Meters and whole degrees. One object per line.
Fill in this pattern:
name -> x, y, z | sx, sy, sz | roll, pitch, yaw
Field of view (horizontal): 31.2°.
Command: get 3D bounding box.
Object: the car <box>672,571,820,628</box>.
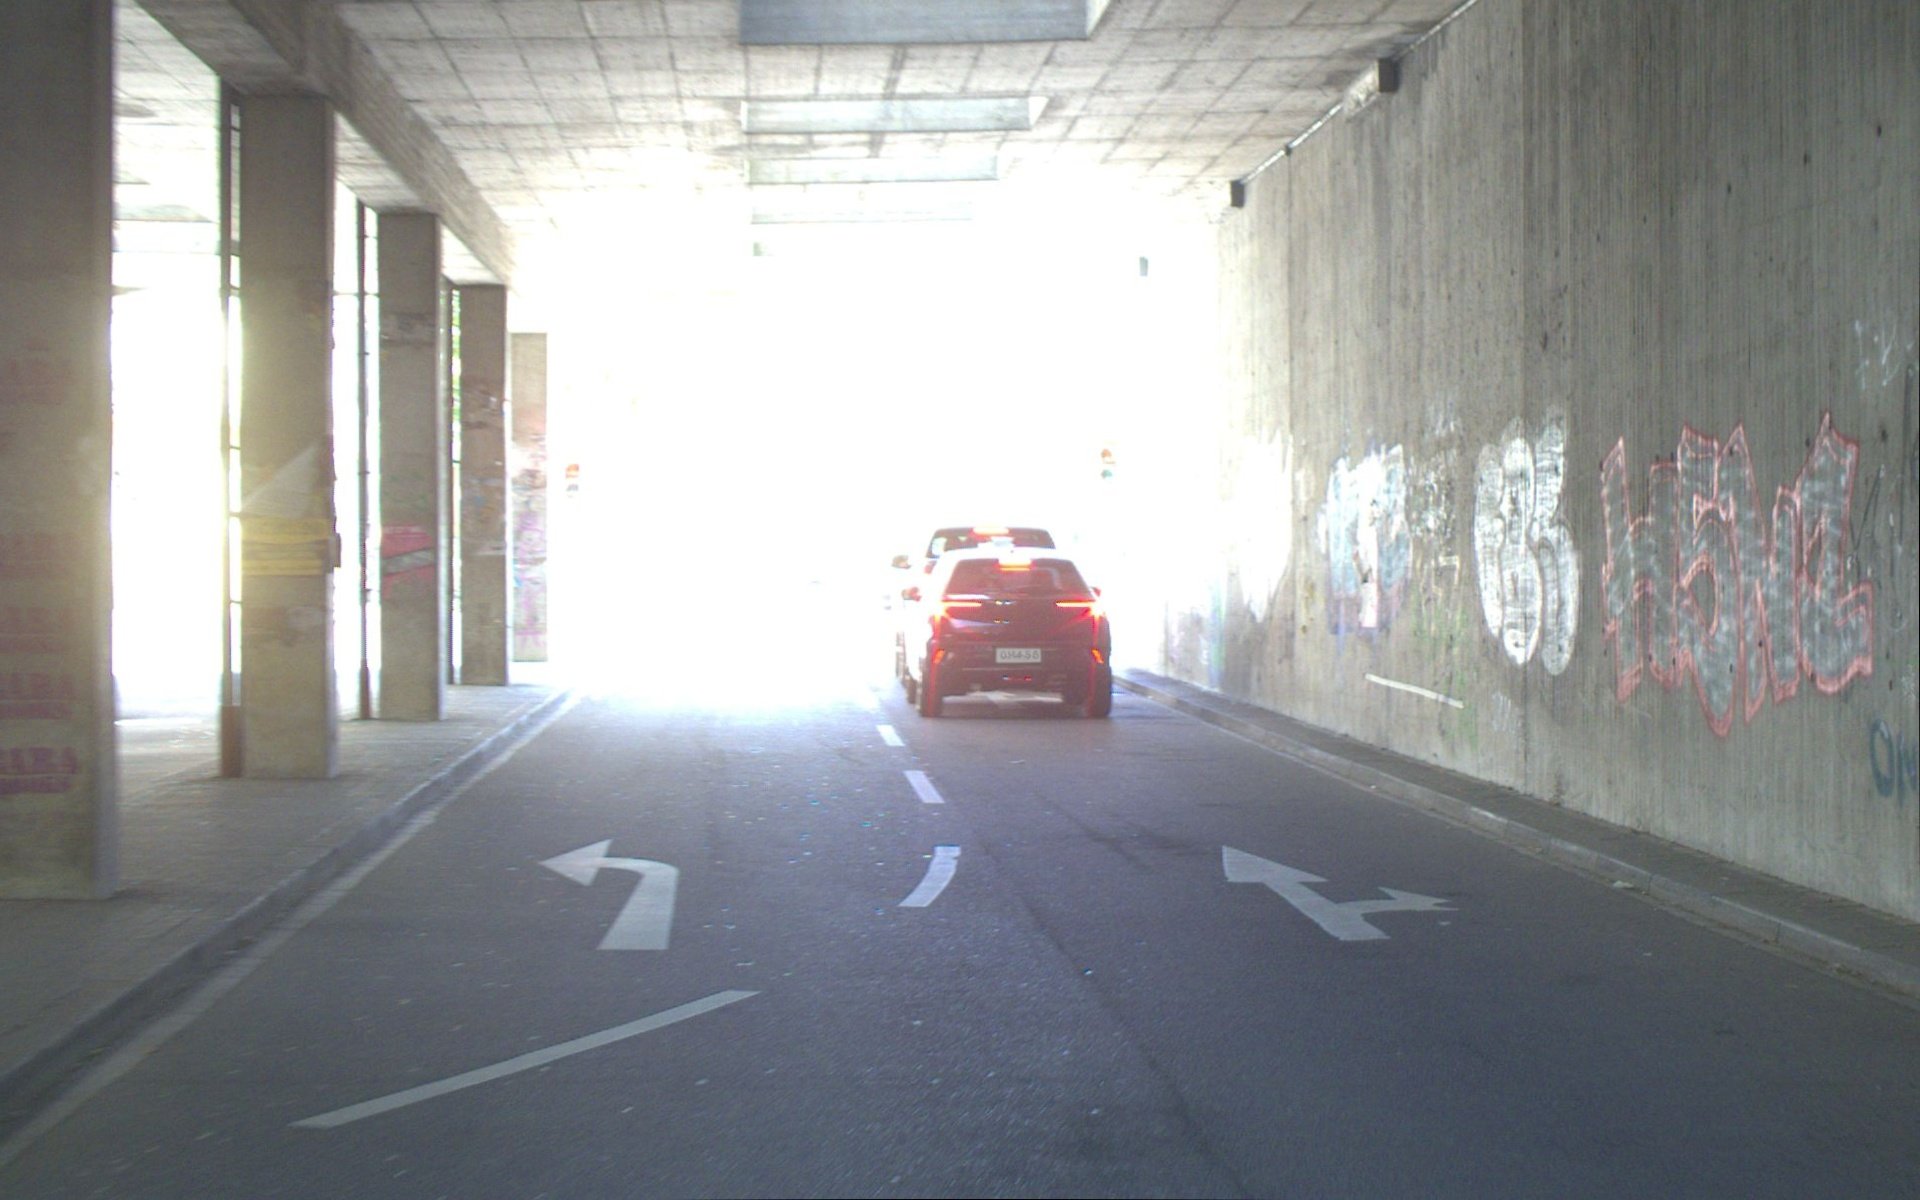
car -> -5.904, -0.027, 95.188 | 3.987, 1.568, 1.640 | 0, 0, 1

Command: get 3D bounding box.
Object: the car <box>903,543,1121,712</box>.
car -> 0.427, 0.212, 32.664 | 1.826, 1.496, 4.211 | 0, 1, -3

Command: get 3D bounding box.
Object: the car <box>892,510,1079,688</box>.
car -> 0.227, -0.049, 38.924 | 1.815, 1.876, 4.586 | -1, 1, -3

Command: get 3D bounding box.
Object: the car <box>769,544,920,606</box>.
car -> -3.319, -0.720, 99.454 | 4.151, 1.733, 2.000 | -1, 1, 4
